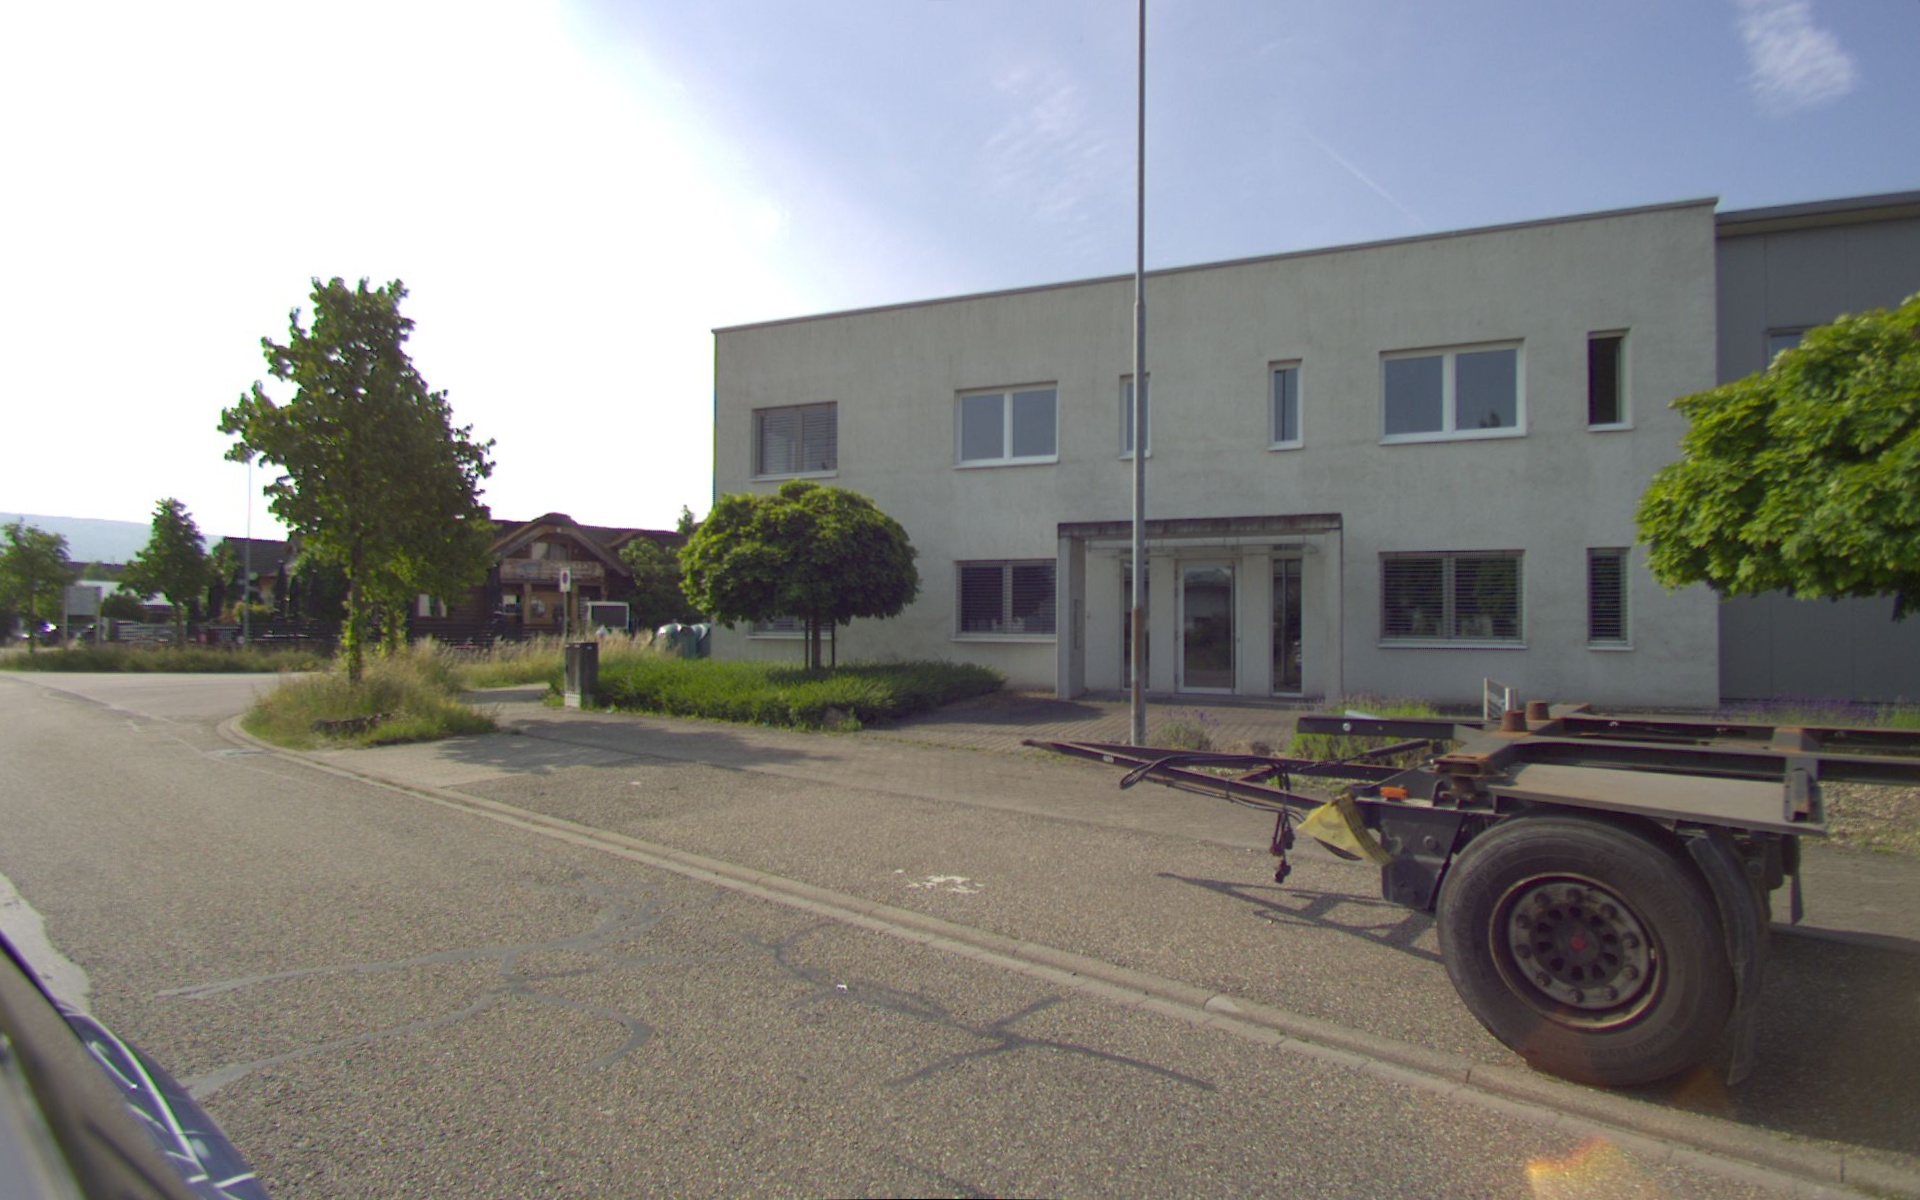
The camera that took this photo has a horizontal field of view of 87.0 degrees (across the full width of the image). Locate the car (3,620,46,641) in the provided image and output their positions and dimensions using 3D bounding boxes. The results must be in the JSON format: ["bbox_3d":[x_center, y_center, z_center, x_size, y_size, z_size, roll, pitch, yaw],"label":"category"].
[{"bbox_3d":[-69.873,2.277,75.591,3.542,1.492,1.596,-1,-1,34],"label":"car"}]

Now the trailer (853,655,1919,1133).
[{"bbox_3d":[3.884,0.879,3.308,9.727,1.082,2.519,-1,0,41],"label":"trailer"}]

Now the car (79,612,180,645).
[{"bbox_3d":[-44.500,1.500,54.273,1.999,1.741,3.944,-1,-1,42],"label":"car"}]

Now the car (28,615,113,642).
[{"bbox_3d":[-61.563,1.938,70.101,1.985,1.807,3.974,-1,-1,20],"label":"car"}]
